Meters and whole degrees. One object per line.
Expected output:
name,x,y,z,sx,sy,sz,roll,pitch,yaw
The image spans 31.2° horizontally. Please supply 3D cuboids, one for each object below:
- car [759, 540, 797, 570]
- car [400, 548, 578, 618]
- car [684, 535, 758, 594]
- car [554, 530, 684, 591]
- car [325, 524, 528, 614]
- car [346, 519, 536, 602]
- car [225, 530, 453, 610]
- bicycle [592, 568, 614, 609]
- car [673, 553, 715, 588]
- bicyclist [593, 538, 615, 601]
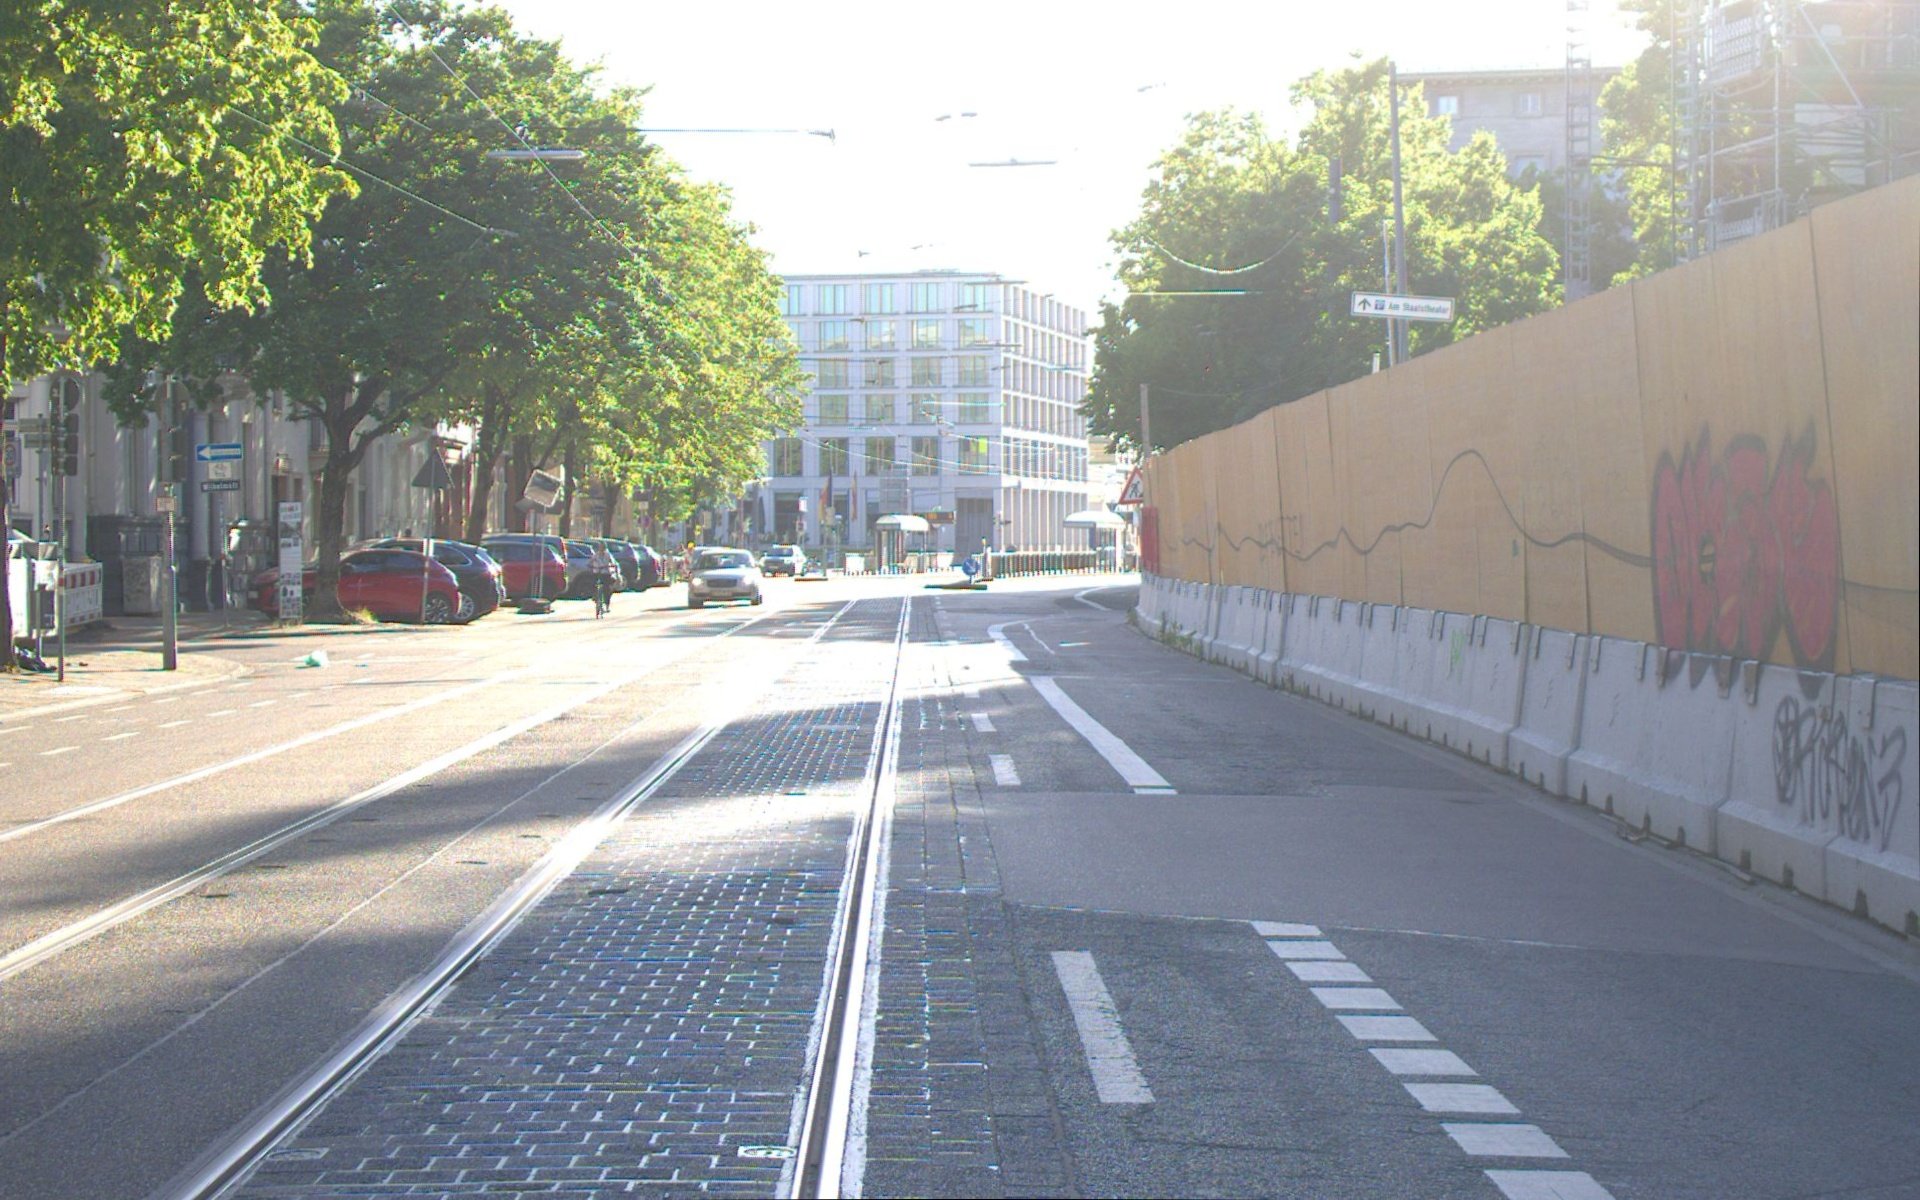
car,-9.567,-2.367,180.994,1.558,1.525,4.000,-1,1,4
car,-11.886,-0.448,86.839,4.159,1.715,1.584,-1,1,-28
car,-5.991,-0.905,86.566,1.709,1.431,4.171,-1,1,-2
car,-9.623,-1.120,97.150,3.372,1.692,1.405,-1,1,-28
car,-10.657,-0.640,68.769,3.674,1.715,1.611,-1,1,-35
car,-11.118,-0.861,73.707,3.674,1.715,1.611,-1,1,-35
car,-11.773,-0.565,65.254,3.901,1.448,1.638,1,0,-34
bicycle,-7.878,-0.261,75.955,0.449,0.878,1.901,-1,1,-5
car,-11.812,-1.329,153.006,1.573,1.485,4.000,-1,1,0
bicyclist,-7.869,-0.675,75.948,0.457,1.373,0.641,-1,1,-5
